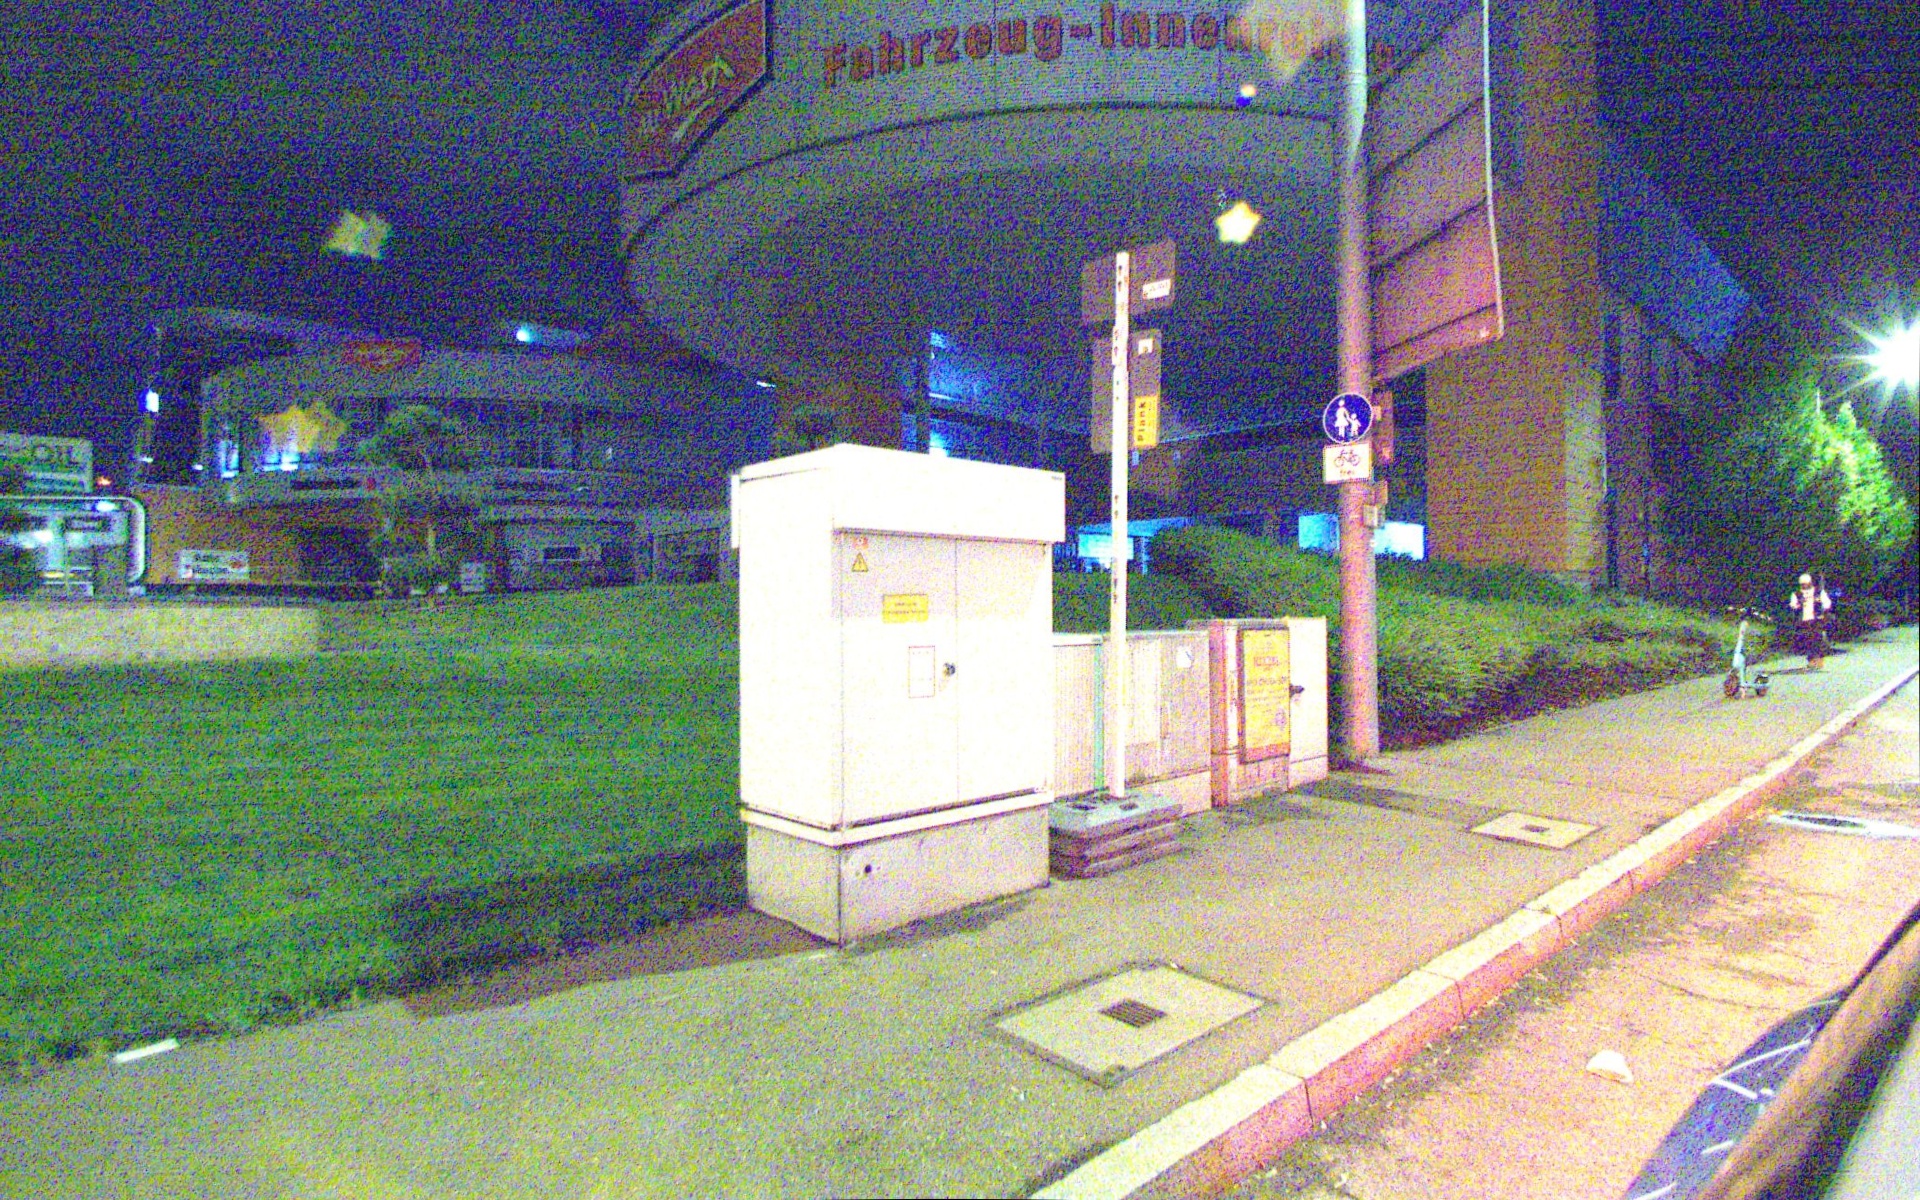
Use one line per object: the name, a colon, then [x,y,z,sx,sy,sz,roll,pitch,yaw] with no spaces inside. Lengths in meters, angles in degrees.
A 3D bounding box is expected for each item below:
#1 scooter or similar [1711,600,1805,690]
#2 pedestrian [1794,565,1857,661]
scooter or similar: [11.006,0.612,13.962,1.111,1.217,0.470,1,-1,-17]
pedestrian: [17.499,0.251,20.465,1.016,1.888,0.819,0,0,-41]
